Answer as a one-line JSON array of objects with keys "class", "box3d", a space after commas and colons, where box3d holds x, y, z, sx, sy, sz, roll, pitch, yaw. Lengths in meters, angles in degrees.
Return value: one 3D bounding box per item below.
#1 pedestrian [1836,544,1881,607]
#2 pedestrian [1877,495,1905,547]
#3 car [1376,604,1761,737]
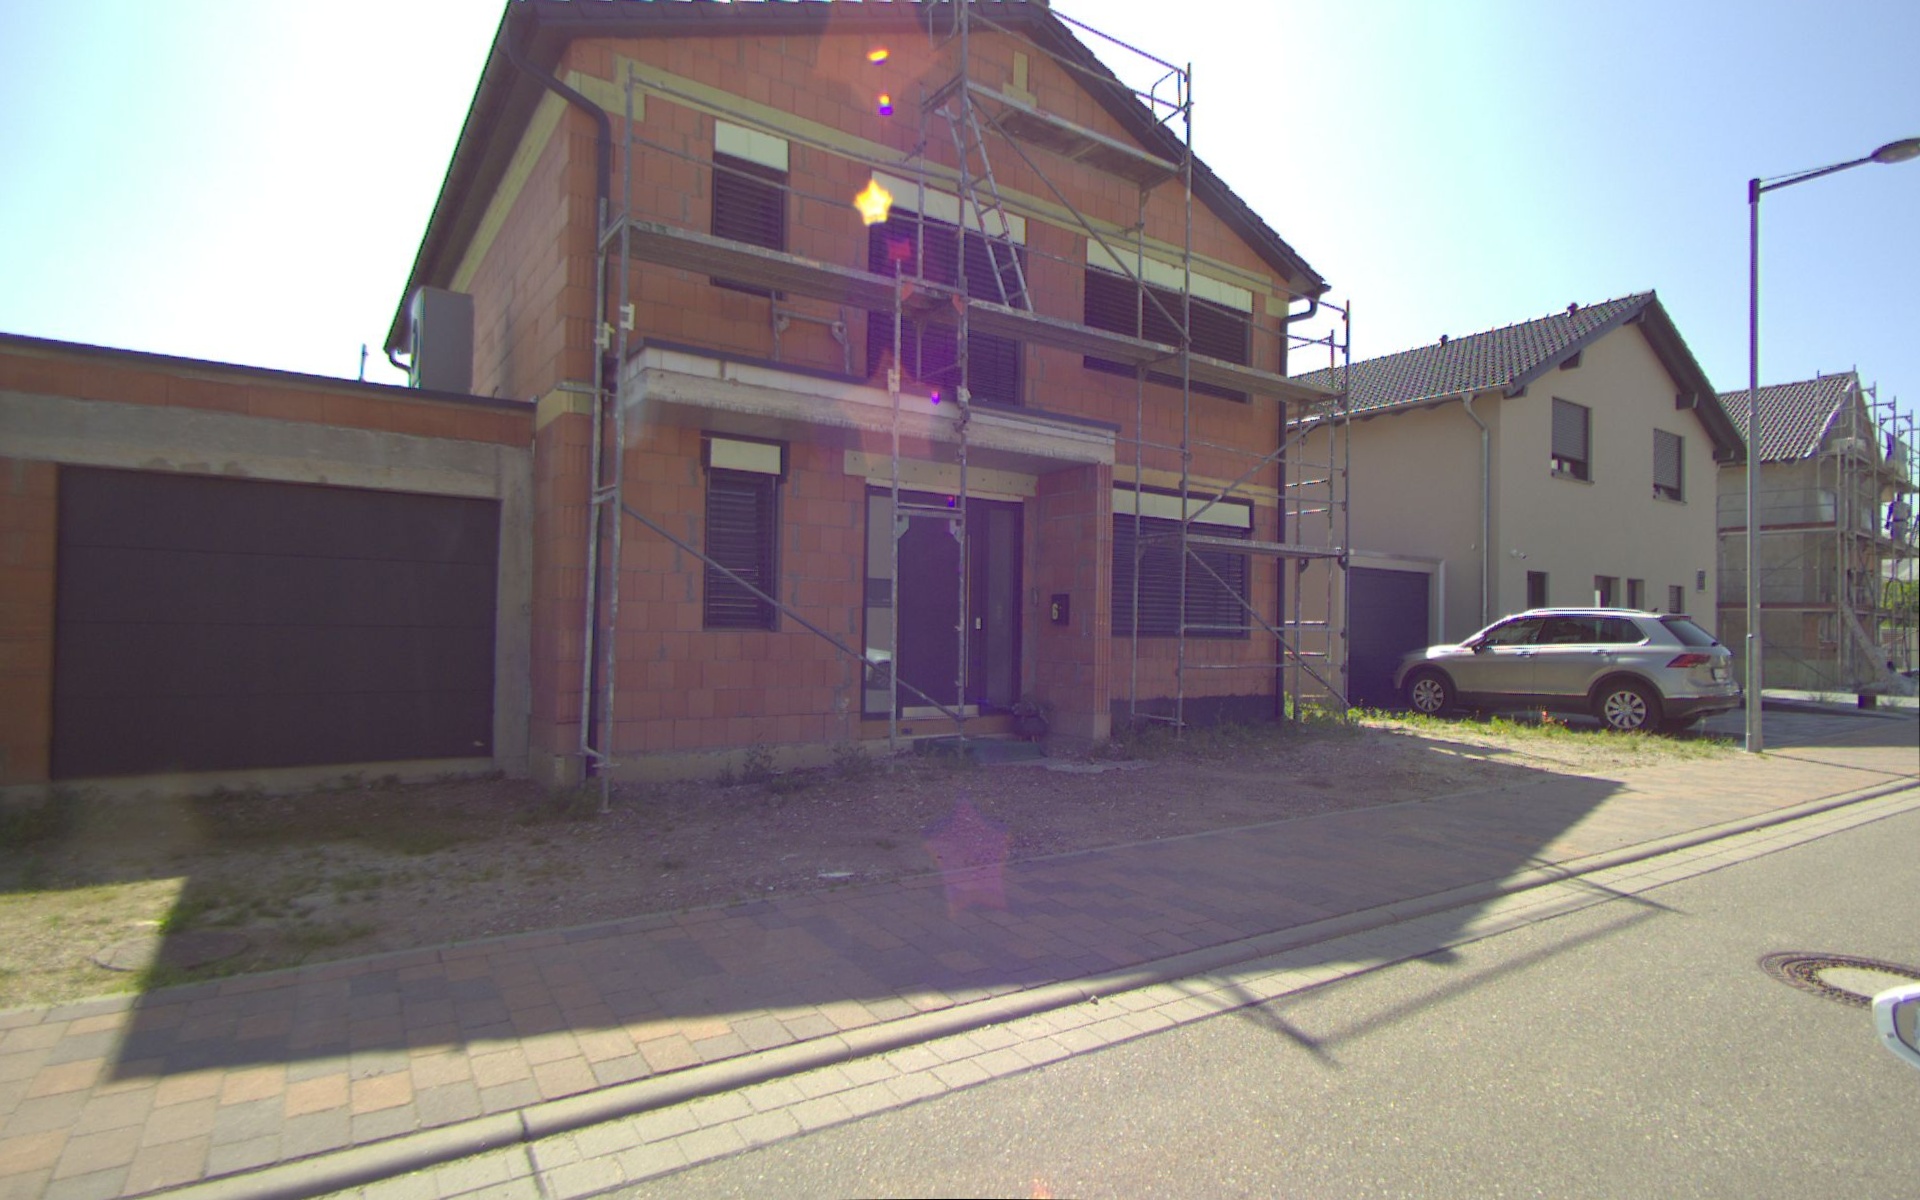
[{"class": "pedestrian", "box3d": [25.012, -0.681, 27.976, 0.733, 1.701, 0.579, 1, -3, 11]}, {"class": "pedestrian", "box3d": [29.167, -2.460, 31.473, 0.742, 1.519, 0.557, 4, -4, -40]}, {"class": "car", "box3d": [8.649, 0.933, 14.648, 1.982, 1.633, 4.393, 1, -2, -37]}]
